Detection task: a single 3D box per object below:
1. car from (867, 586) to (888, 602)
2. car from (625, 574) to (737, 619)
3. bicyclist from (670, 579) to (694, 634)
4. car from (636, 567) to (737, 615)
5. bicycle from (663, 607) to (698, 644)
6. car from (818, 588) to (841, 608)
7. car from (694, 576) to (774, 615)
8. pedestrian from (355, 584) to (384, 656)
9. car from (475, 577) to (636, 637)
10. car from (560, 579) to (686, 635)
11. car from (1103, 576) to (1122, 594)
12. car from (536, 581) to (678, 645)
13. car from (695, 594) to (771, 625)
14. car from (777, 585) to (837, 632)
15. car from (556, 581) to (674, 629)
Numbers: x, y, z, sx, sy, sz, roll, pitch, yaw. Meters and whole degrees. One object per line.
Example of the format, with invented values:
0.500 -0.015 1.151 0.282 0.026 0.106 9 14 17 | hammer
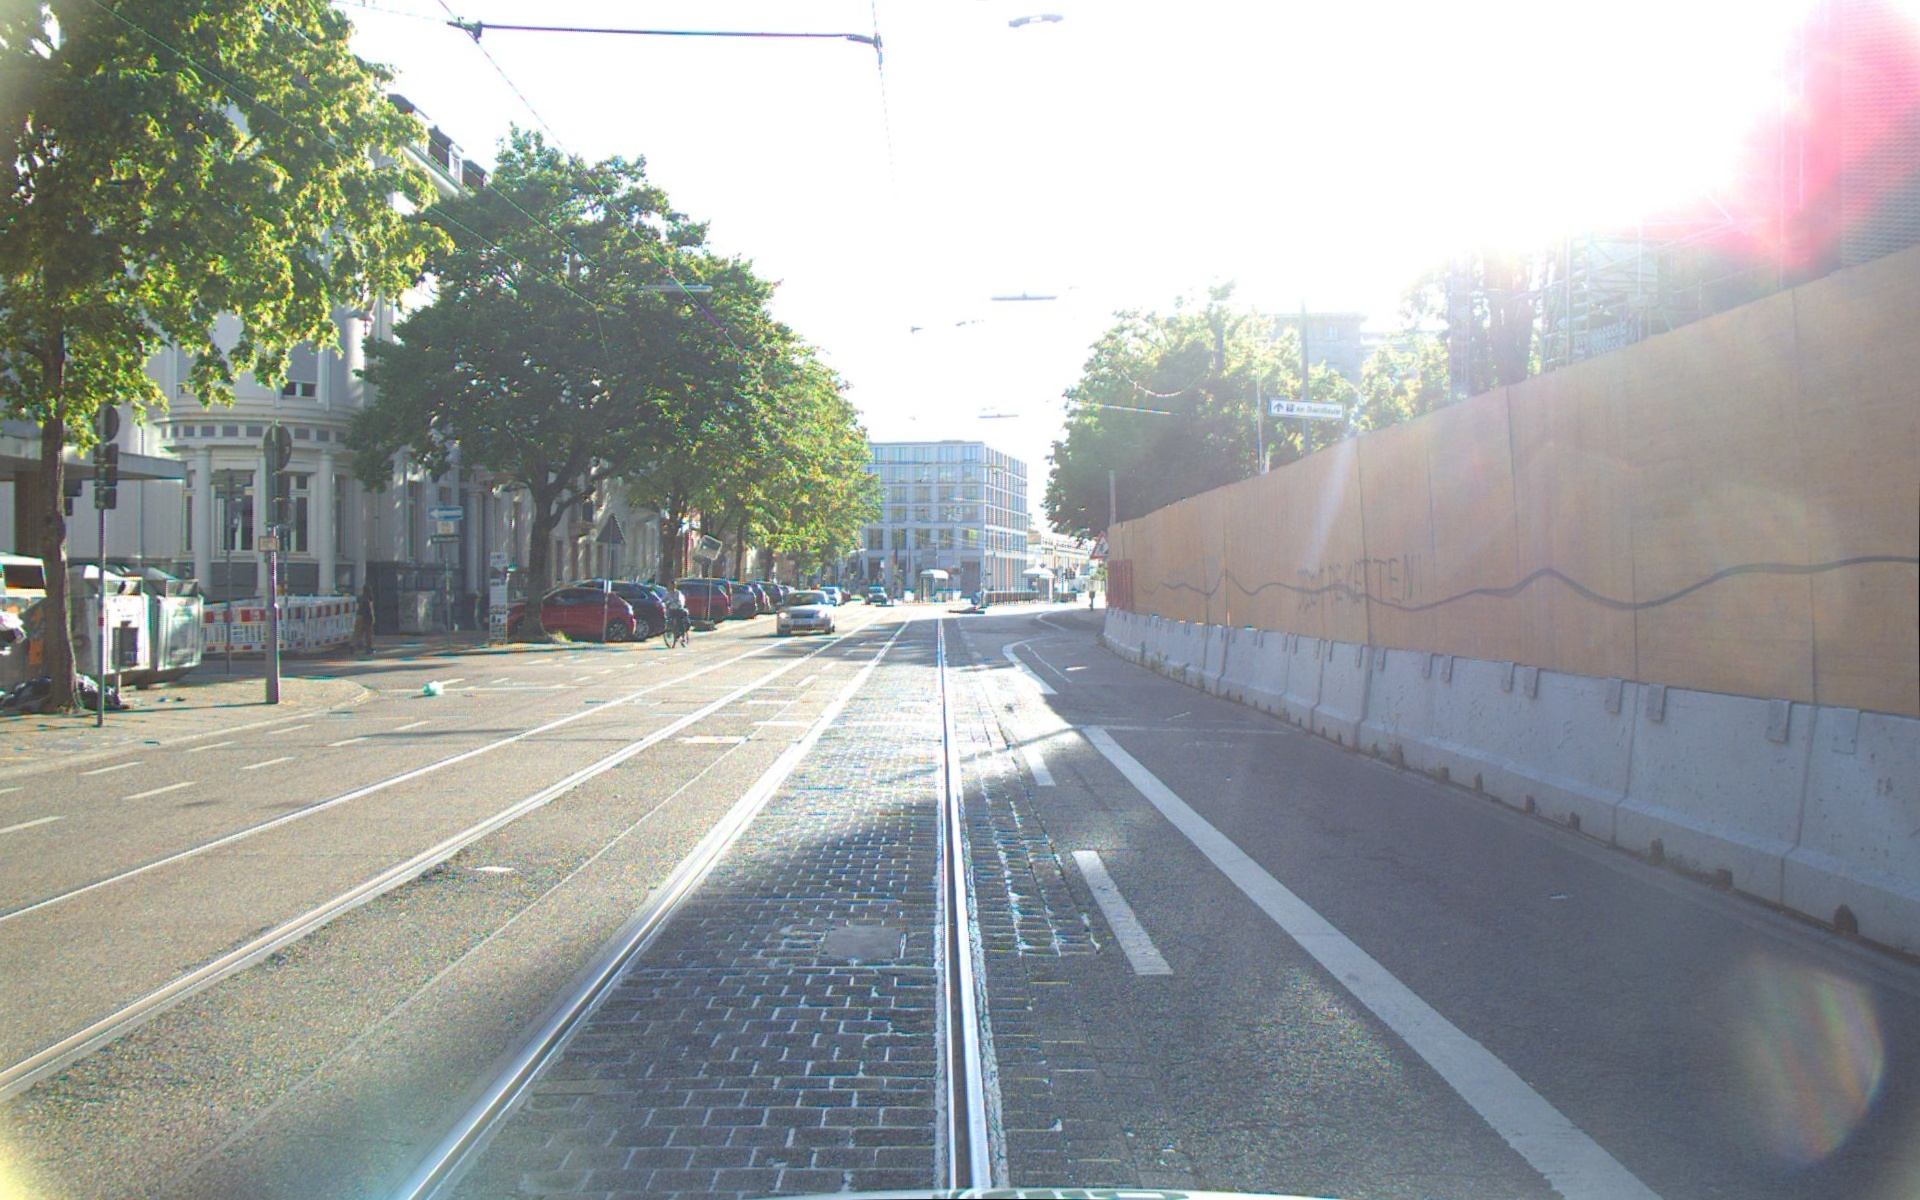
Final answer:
-7.752 -0.573 155.800 1.525 1.557 4.002 0 0 3 | car
-11.092 -0.138 65.750 4.113 1.751 1.569 0 0 -28 | car
-7.218 0.162 42.965 0.448 1.402 0.641 0 0 5 | bicyclist
-11.369 -0.379 68.814 3.789 1.864 1.714 2 -1 -31 | car
-7.242 0.647 42.882 0.439 0.896 1.902 0 1 5 | bicycle
-10.365 -0.169 131.869 1.540 1.516 4.000 0 0 0 | car
-10.326 -0.191 75.629 3.335 1.727 1.392 0 0 -29 | car
-13.168 0.443 36.903 0.338 1.600 0.511 0 0 27 | pedestrian
-10.813 0.202 44.282 3.867 1.478 1.618 2 -1 -35 | car
-10.734 0.195 52.761 3.645 1.751 1.591 0 1 -36 | car
17.592 -1.758 190.807 1.951 2.049 4.003 0 1 7 | car
-10.059 0.337 47.205 3.645 1.751 1.591 0 1 -36 | car
-10.701 0.454 77.978 3.335 1.444 1.392 0 0 -29 | car
-4.952 0.238 54.010 1.674 1.461 4.170 0 1 -1 | car
-11.636 0.144 55.919 3.645 1.554 1.465 -1 1 -36 | car
